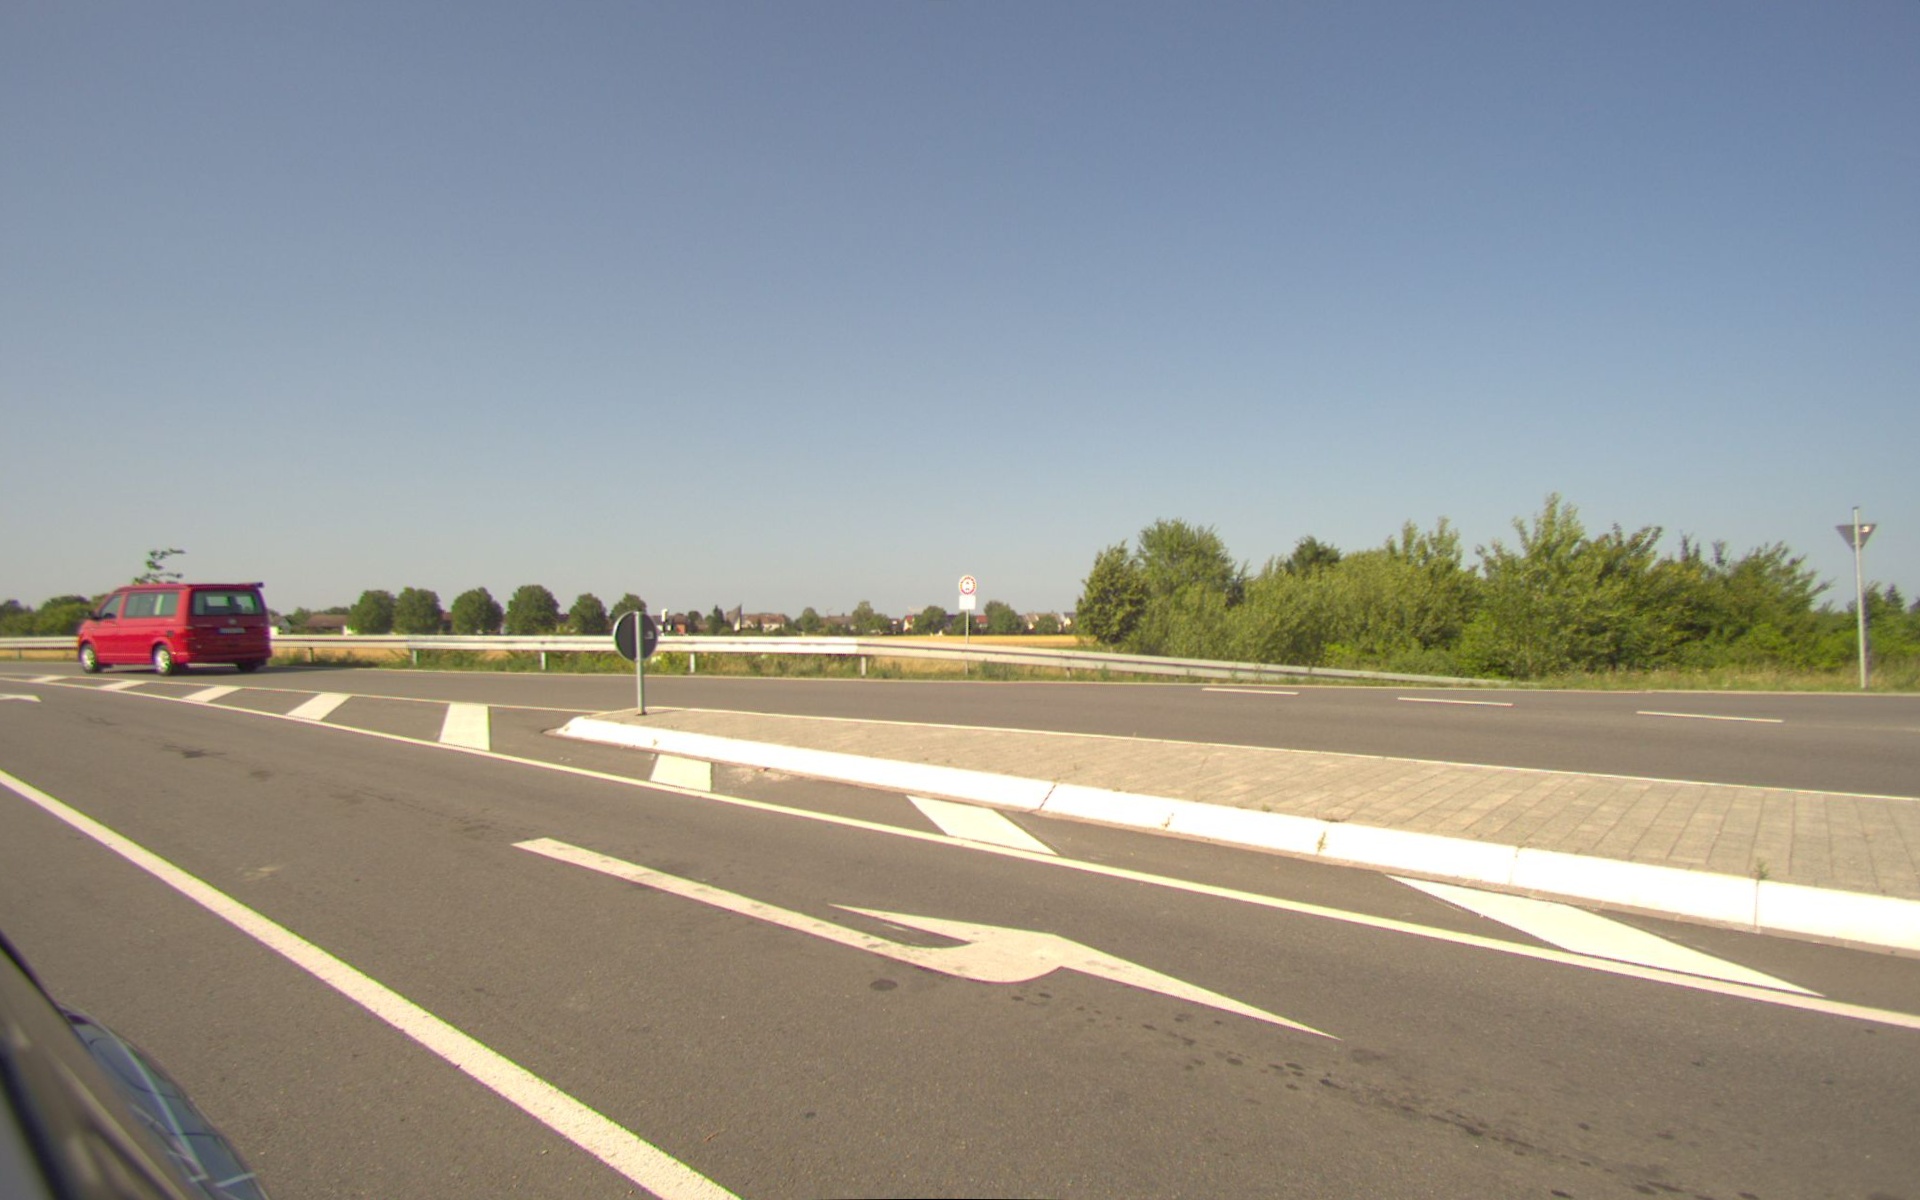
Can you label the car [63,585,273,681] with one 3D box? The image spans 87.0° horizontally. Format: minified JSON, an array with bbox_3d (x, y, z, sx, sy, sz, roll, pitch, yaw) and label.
[{"bbox_3d":[-17.852,0.683,22.769,4.901,1.955,1.823,0,1,27],"label":"car"}]
